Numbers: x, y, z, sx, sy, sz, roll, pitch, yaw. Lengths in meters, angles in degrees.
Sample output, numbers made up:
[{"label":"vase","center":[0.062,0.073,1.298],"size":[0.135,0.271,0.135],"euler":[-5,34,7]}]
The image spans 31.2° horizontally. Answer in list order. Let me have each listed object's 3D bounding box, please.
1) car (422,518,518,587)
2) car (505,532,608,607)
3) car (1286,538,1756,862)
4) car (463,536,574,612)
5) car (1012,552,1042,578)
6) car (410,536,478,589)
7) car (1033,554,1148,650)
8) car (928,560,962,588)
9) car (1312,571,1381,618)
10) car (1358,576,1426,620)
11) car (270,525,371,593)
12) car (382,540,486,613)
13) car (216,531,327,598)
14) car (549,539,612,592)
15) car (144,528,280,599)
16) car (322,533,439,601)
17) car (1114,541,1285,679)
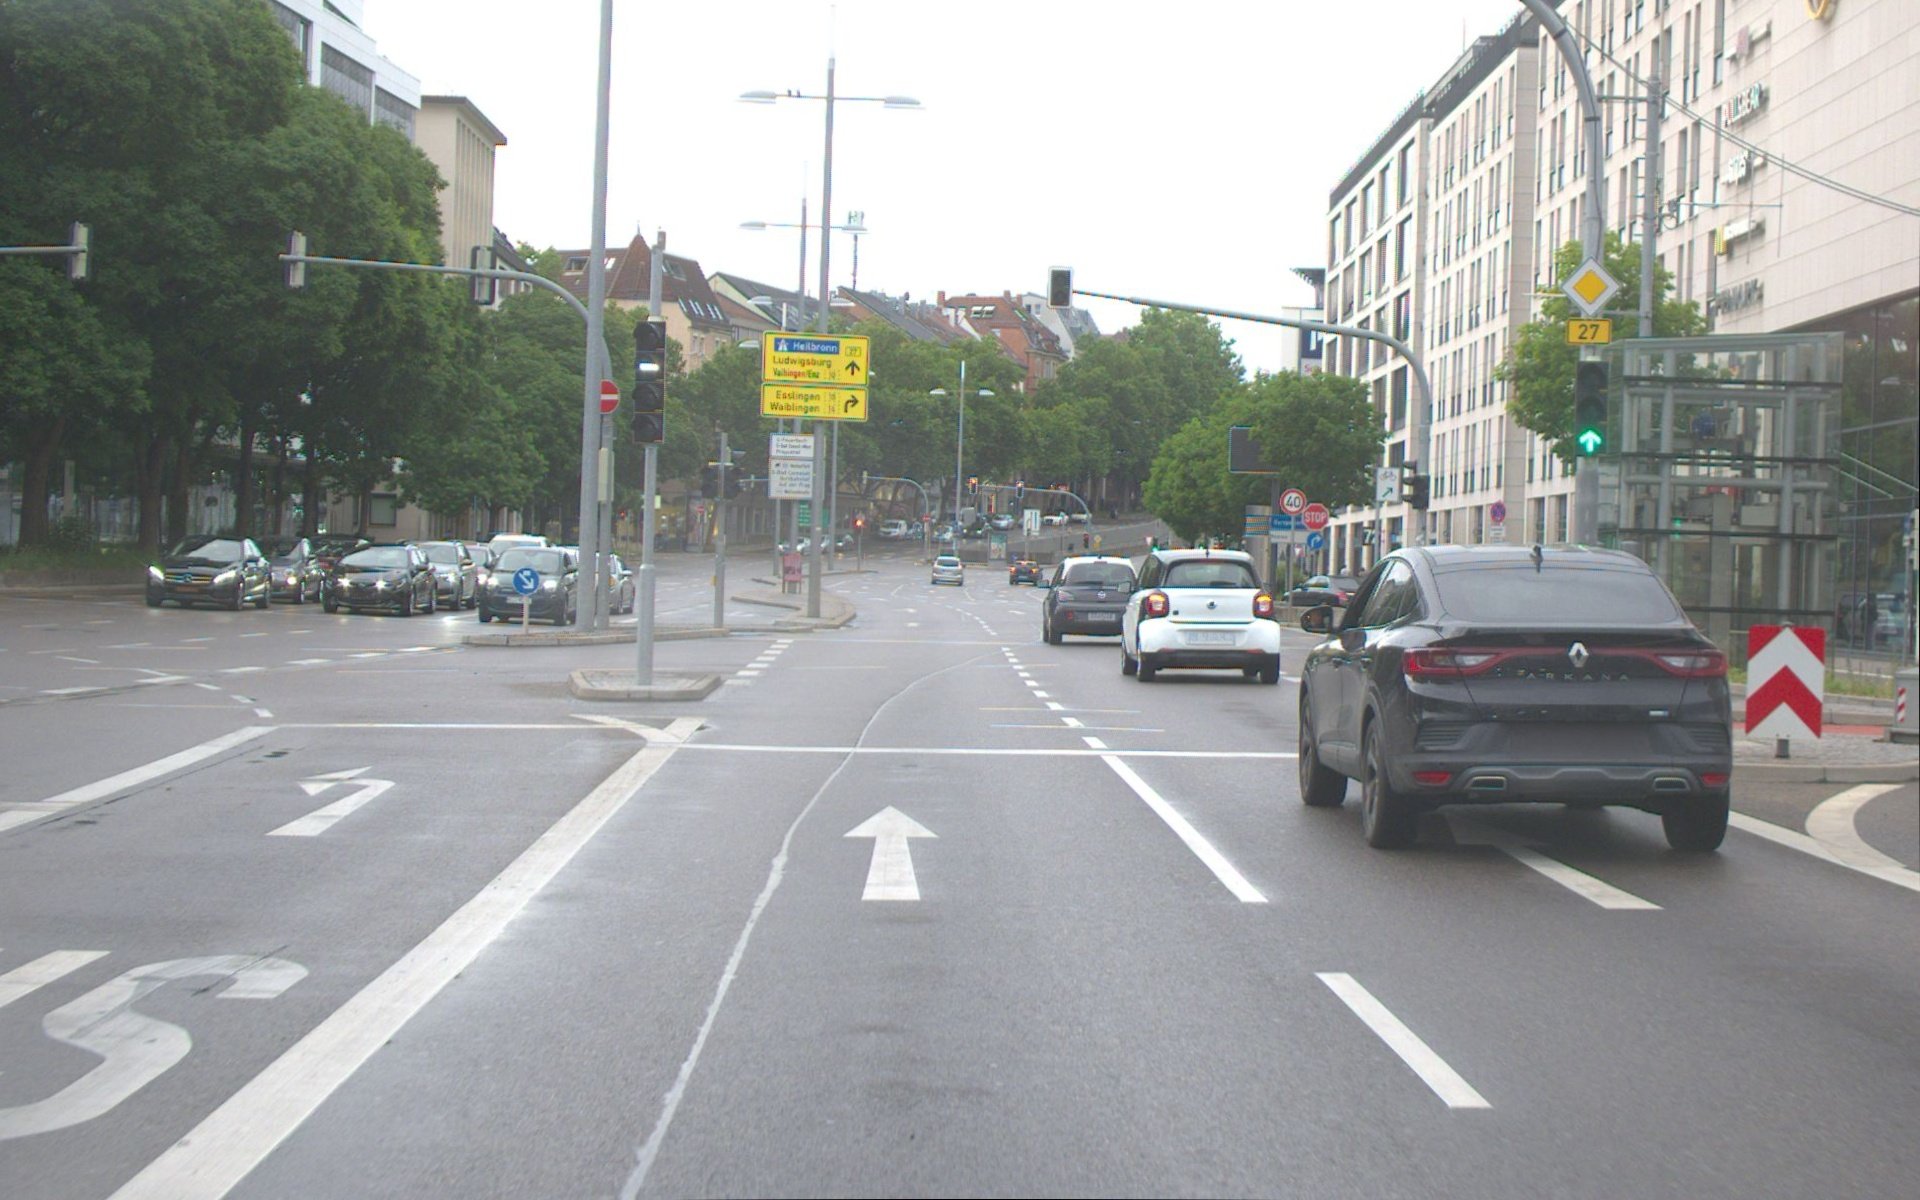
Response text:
[{"label":"car","center":[-11.528,-1.102,81.055],"size":[1.743,1.553,3.540],"euler":[1,0,0]},{"label":"car","center":[-8.635,-0.645,73.903],"size":[1.702,1.553,4.245],"euler":[1,0,0]},{"label":"car","center":[2.909,0.443,18.744],"size":[1.791,1.501,4.339],"euler":[1,1,0]},{"label":"car","center":[-8.726,-0.504,68.122],"size":[1.743,1.439,3.395],"euler":[1,0,0]},{"label":"car","center":[4.031,-2.089,207.167],"size":[1.740,1.526,3.814],"euler":[1,0,0]},{"label":"car","center":[-17.431,-1.262,116.257],"size":[1.743,1.742,3.540],"euler":[1,0,0]},{"label":"car","center":[2.162,0.022,57.810],"size":[1.740,1.526,3.814],"euler":[1,0,0]},{"label":"car","center":[-0.859,-1.474,194.413],"size":[1.740,1.526,3.815],"euler":[1,1,-2]},{"label":"car","center":[11.914,-0.173,106.140],"size":[1.661,1.396,3.832],"euler":[1,0,0]},{"label":"car","center":[12.605,-0.066,100.453],"size":[1.506,1.261,3.502],"euler":[1,0,0]},{"label":"car","center":[-15.191,-0.952,81.828],"size":[1.743,1.553,3.540],"euler":[1,0,0]},{"label":"car","center":[-11.636,-0.511,76.245],"size":[1.743,1.553,3.540],"euler":[1,0,0]},{"label":"car","center":[-15.227,-0.778,76.189],"size":[1.743,1.419,3.540],"euler":[1,0,0]},{"label":"car","center":[-12.920,-1.158,117.306],"size":[1.743,1.742,3.540],"euler":[1,0,0]},{"label":"car","center":[-14.683,-0.709,67.680],"size":[1.743,1.324,4.226],"euler":[1,0,0]},{"label":"car","center":[-11.657,-0.679,69.315],"size":[1.743,1.253,3.540],"euler":[2,1,0]},{"label":"car","center":[2.788,0.106,40.684],"size":[1.724,1.526,3.814],"euler":[1,0,0]}]
